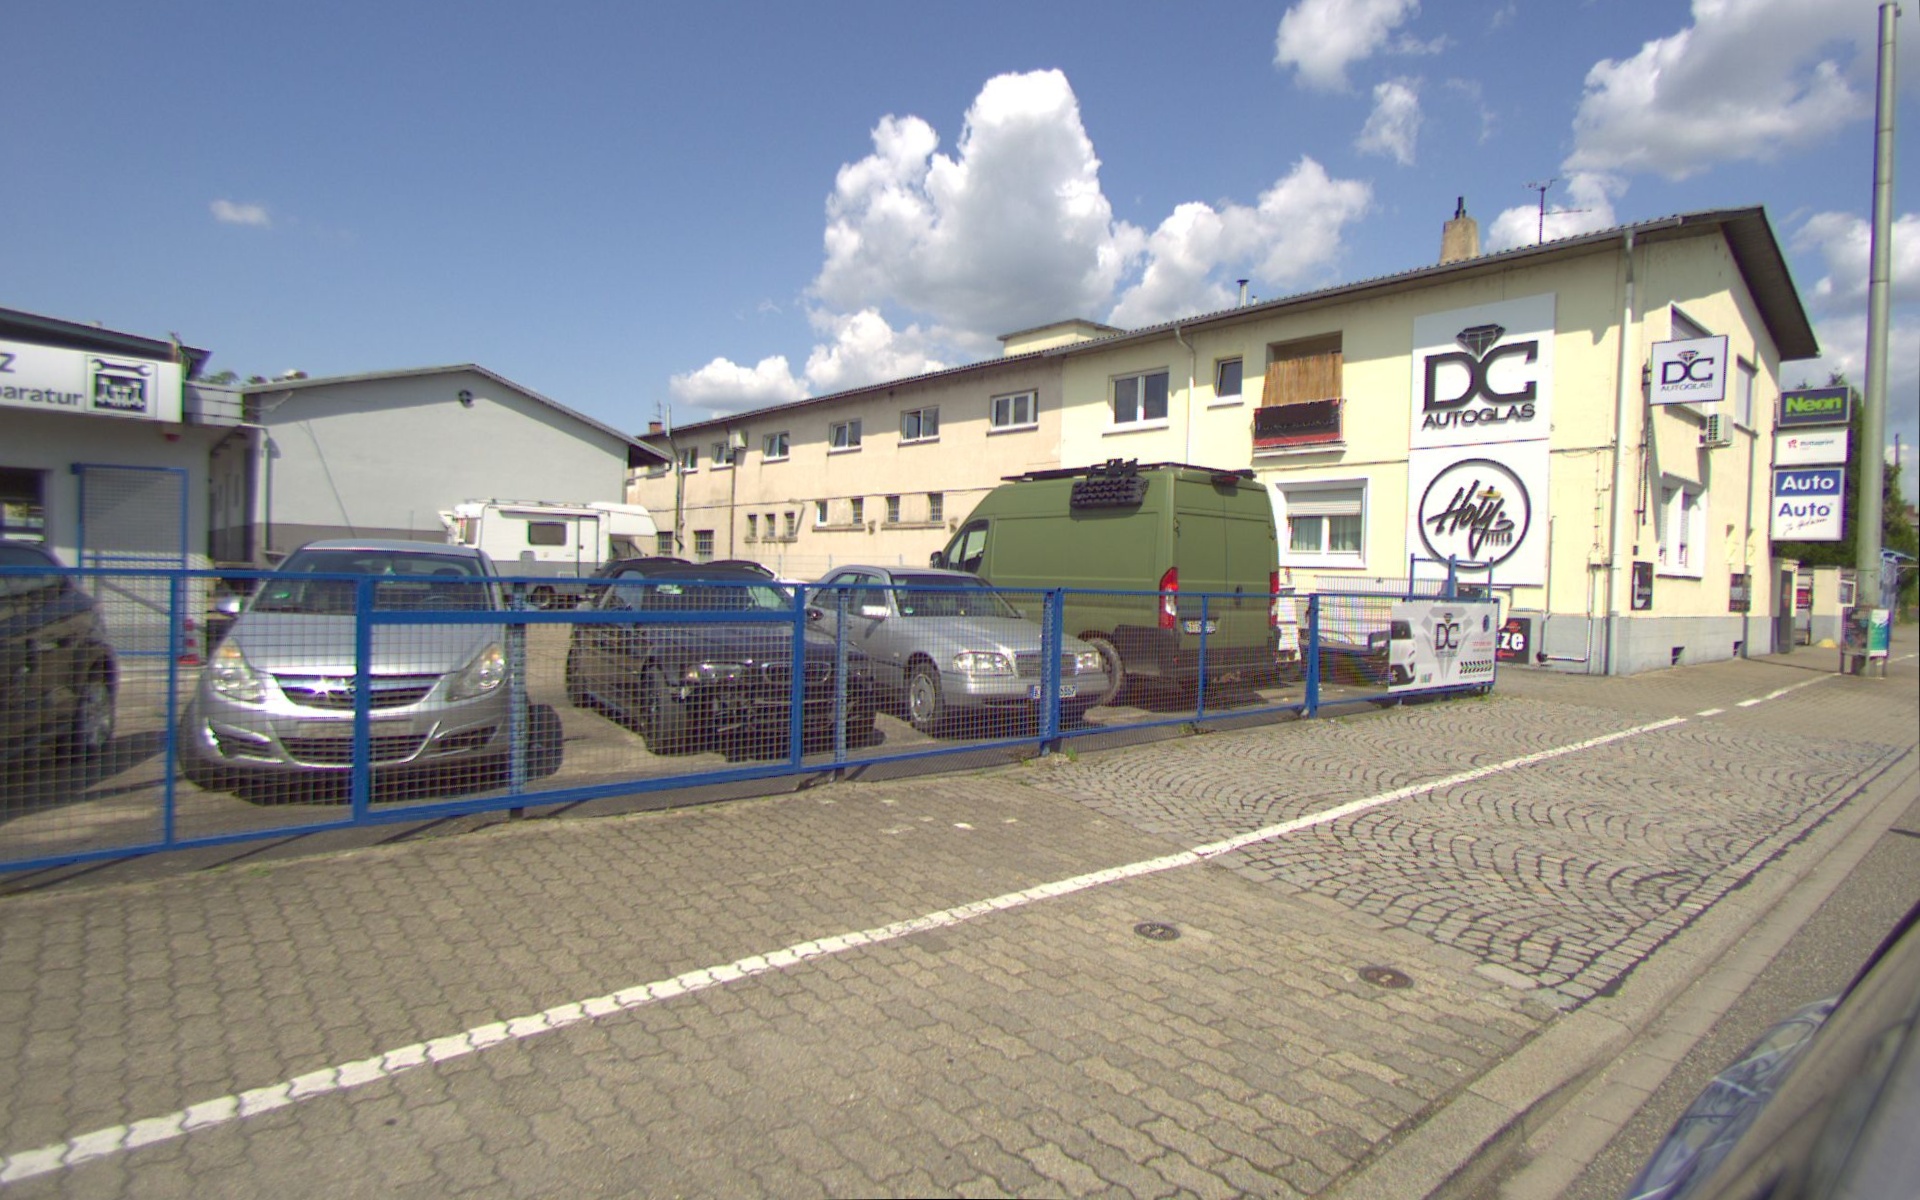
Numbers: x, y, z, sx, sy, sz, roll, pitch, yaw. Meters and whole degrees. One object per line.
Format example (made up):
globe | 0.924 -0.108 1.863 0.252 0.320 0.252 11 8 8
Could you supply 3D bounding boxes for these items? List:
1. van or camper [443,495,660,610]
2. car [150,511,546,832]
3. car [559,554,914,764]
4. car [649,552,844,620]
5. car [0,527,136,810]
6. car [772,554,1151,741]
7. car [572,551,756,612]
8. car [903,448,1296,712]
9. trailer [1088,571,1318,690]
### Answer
van or camper | -10.985 -1.253 27.431 4.978 2.807 2.311 -1 3 -44
car | -3.873 0.260 6.937 1.714 1.515 4.008 0 2 -25
car | -2.166 0.312 8.843 1.784 1.372 4.004 0 2 -32
car | -4.912 -0.350 23.596 4.110 1.433 1.756 -1 3 -42
car | -5.680 0.351 4.806 1.675 1.460 4.009 1 2 -23
car | -0.225 0.297 10.184 1.785 1.449 4.200 0 2 -33
car | -7.524 -0.491 25.924 4.110 1.405 1.925 -1 3 -42
car | 1.492 -0.292 12.436 2.112 2.605 4.549 0 2 -38
trailer | 3.221 0.336 13.742 1.280 1.349 2.789 0 3 -40
